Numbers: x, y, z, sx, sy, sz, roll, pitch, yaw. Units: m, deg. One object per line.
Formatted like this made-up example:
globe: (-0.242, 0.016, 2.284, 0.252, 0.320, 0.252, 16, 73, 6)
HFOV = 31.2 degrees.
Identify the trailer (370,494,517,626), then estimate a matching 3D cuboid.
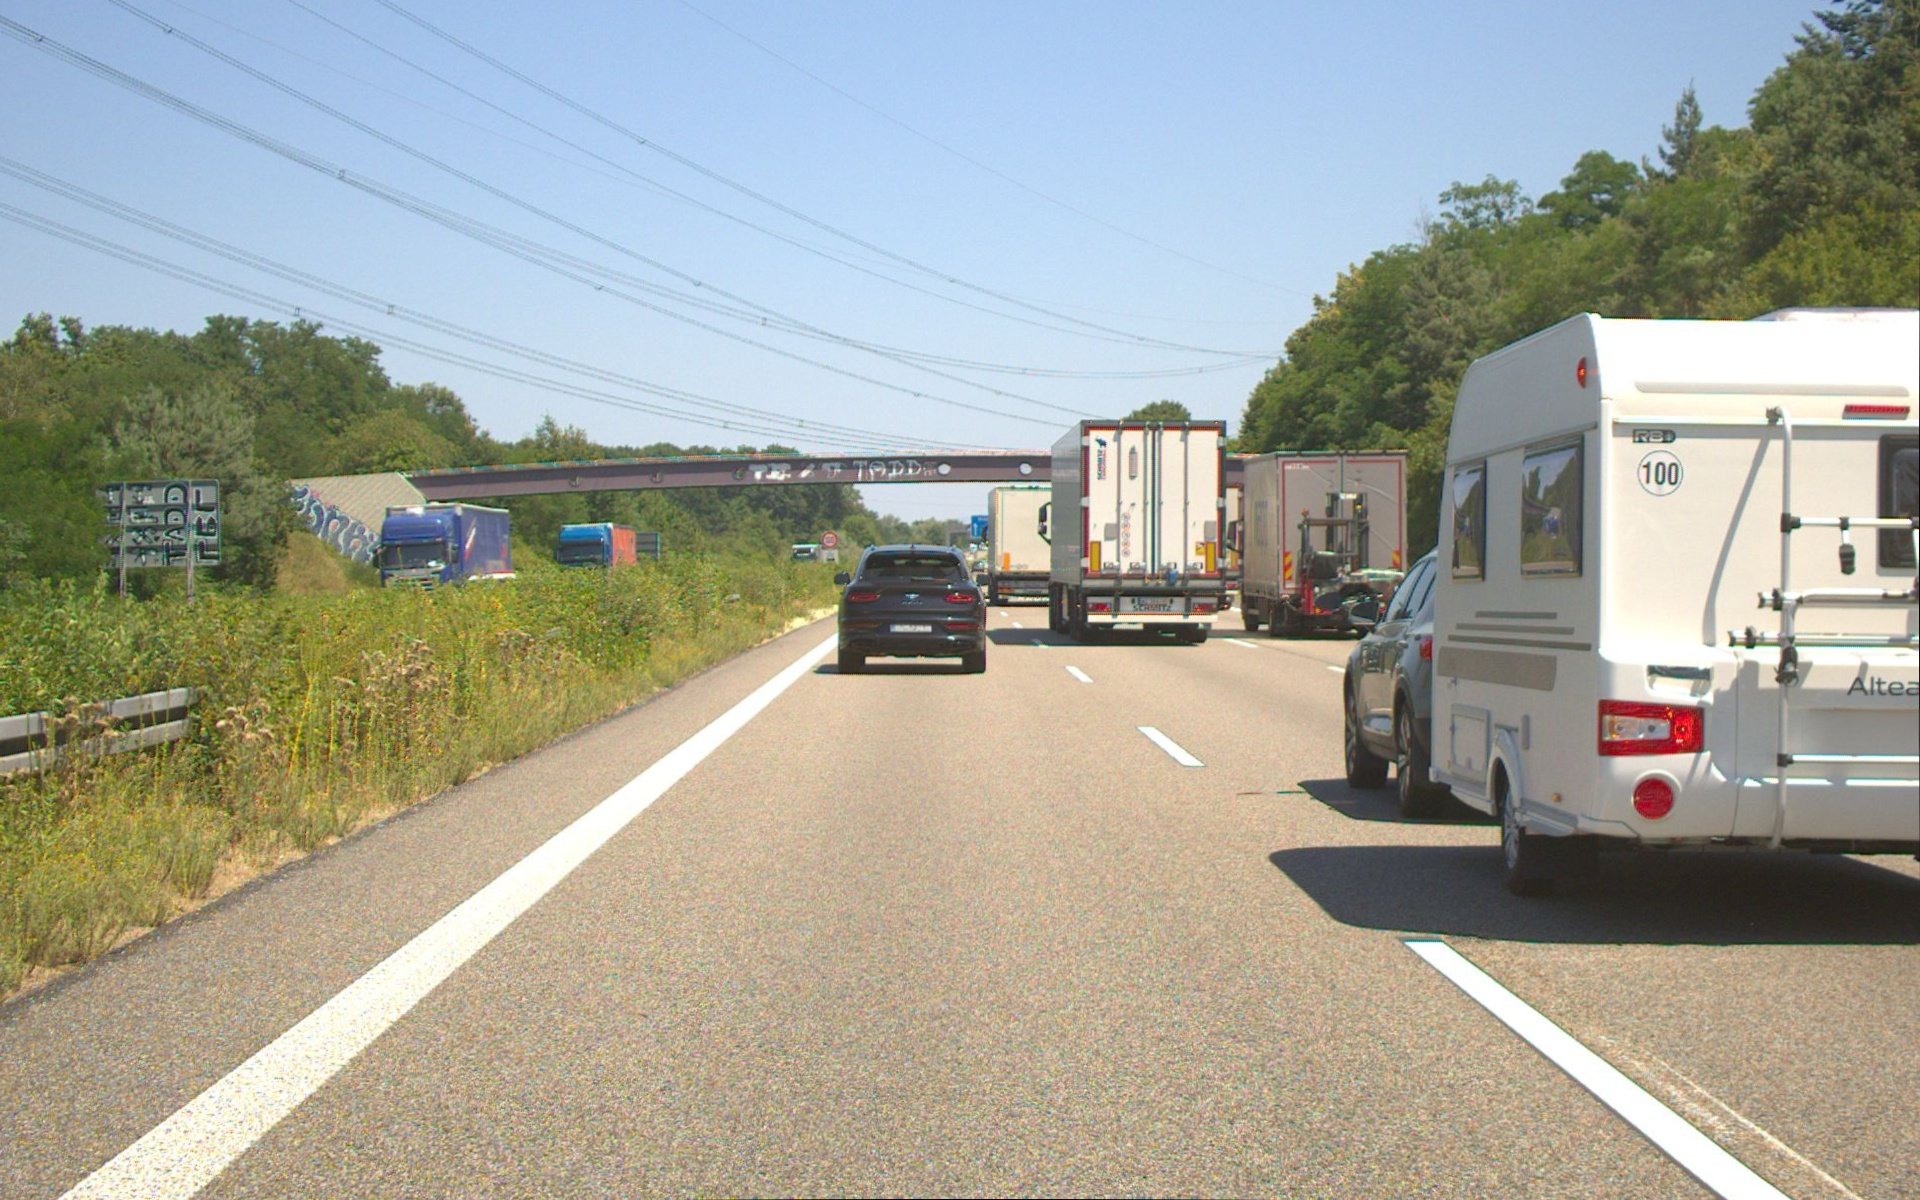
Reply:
trailer: (-18.781, -1.481, 126.062, 3.087, 4.392, 14.232, -3, 1, 0)

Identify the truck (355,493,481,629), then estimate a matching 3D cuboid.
truck: (-18.722, -1.364, 119.115, 3.087, 4.392, 6.801, -3, 1, 0)

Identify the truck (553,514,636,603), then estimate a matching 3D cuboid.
truck: (-18.680, -2.148, 176.164, 3.343, 4.392, 7.972, -2, 1, 0)

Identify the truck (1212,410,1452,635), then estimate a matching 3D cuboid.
truck: (7.526, -1.538, 71.515, 3.571, 4.230, 11.652, 1, 0, 0)

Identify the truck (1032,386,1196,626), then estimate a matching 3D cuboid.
truck: (3.226, -1.959, 73.748, 3.087, 4.868, 6.598, 1, 0, 0)

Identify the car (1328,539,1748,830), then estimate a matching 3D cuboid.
car: (3.494, 0.439, 21.650, 1.879, 1.607, 4.702, 1, 1, 1)

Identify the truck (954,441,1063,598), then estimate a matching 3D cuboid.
truck: (1.602, -2.740, 118.789, 3.512, 5.149, 10.259, 1, 1, 0)

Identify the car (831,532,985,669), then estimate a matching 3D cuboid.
car: (-0.735, -0.031, 46.957, 1.993, 1.766, 4.000, -1, 1, -2)

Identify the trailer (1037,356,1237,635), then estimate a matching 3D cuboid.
trailer: (3.257, -1.900, 66.886, 3.087, 4.868, 12.258, 1, 0, 0)

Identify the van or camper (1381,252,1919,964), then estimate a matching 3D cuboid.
van or camper: (3.583, -0.030, 16.113, 2.439, 2.665, 6.350, -1, 1, 0)
